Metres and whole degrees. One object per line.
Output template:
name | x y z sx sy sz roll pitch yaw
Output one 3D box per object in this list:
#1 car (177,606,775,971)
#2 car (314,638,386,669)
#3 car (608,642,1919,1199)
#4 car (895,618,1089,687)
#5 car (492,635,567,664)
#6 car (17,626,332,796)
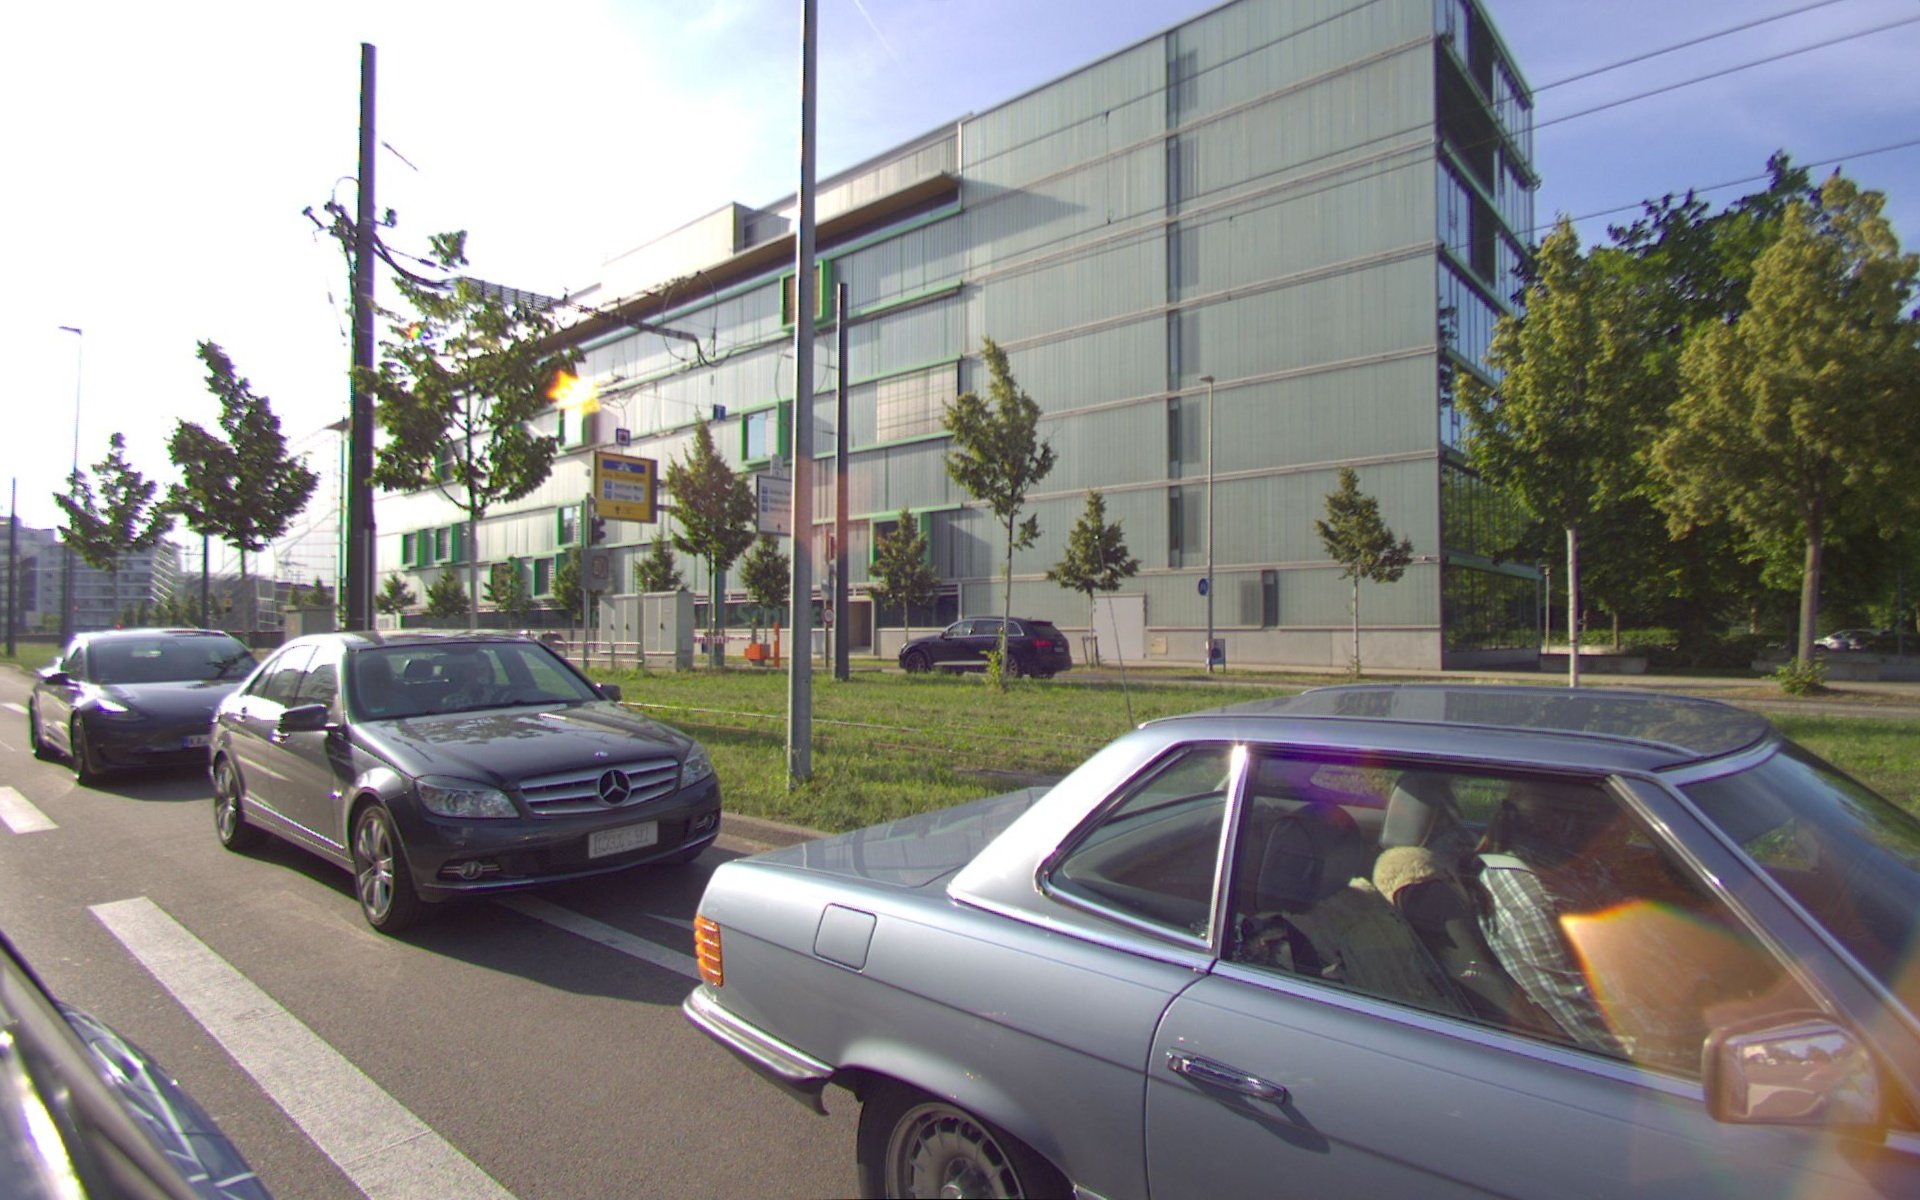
car | -3.248 0.857 6.318 4.351 1.490 1.768 -2 -1 41
car | -31.741 2.774 52.635 4.309 1.539 1.973 -2 -3 41
car | 1.361 0.781 1.767 4.397 1.340 1.746 -2 -1 41
car | 0.793 1.402 27.277 4.985 1.697 1.975 -2 -3 37
car | -23.321 2.664 54.757 4.437 1.539 1.886 -2 -3 40
car | -8.494 1.036 10.795 4.332 1.396 1.870 -2 -1 41
